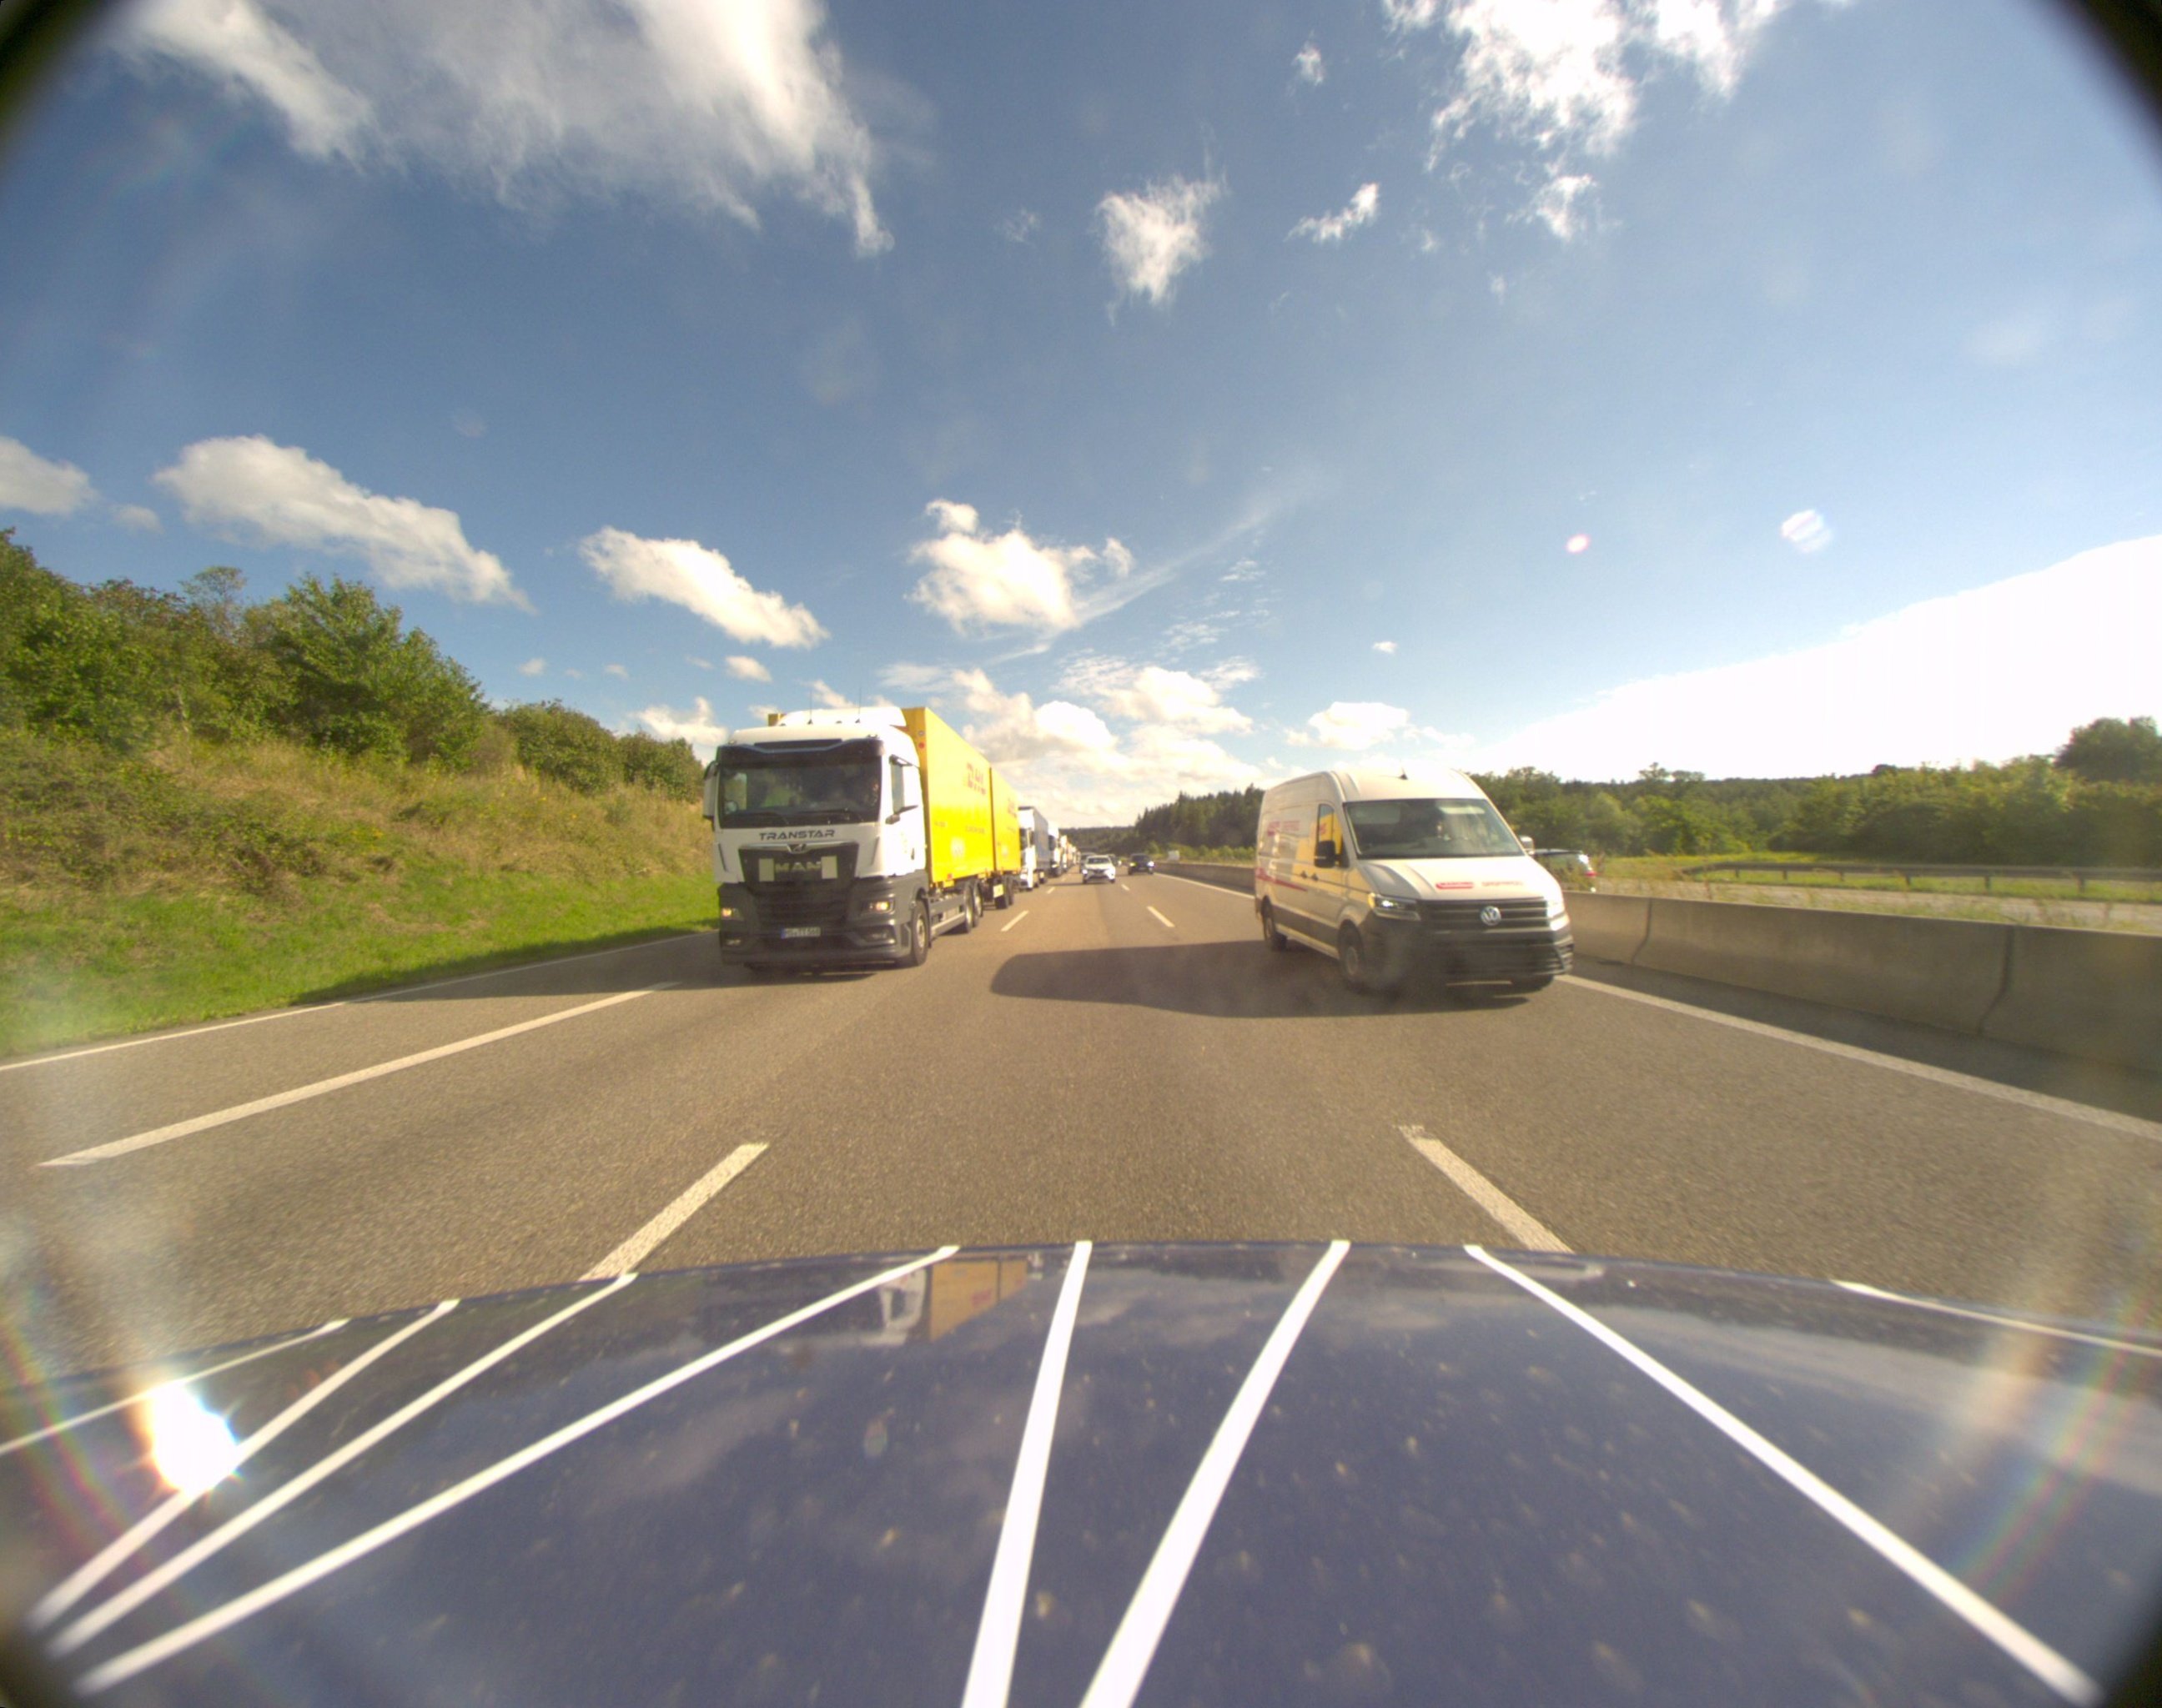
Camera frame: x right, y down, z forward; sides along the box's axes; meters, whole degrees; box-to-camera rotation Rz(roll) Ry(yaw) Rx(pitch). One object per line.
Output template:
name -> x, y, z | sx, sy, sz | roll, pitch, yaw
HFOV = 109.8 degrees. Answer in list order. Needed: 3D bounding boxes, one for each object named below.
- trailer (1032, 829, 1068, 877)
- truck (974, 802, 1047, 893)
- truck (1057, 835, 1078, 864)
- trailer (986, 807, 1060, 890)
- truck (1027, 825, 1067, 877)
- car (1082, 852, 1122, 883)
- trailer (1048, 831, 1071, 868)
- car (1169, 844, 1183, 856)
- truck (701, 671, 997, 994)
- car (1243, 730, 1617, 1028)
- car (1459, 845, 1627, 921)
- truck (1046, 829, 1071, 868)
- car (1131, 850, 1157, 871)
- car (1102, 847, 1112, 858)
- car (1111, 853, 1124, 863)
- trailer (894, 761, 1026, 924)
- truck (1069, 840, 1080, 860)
trailer -> -2.693, -0.013, 69.798 | 2.652, 3.910, 11.176 | -3, -1, 0
truck -> -3.405, -0.330, 38.282 | 2.654, 4.066, 6.491 | -3, 1, 2
truck -> -1.878, -0.621, 107.947 | 2.634, 3.959, 5.956 | -3, 0, 1
trailer -> -3.146, -0.367, 45.596 | 2.648, 4.074, 13.980 | -3, 1, 2
truck -> -2.701, -0.157, 62.343 | 2.656, 3.901, 6.943 | -3, -1, 0
car -> 1.227, 0.725, 42.716 | 2.026, 1.511, 5.299 | -3, 0, 2
trailer -> -2.461, -0.421, 90.851 | 2.334, 3.973, 14.300 | -2, -1, 0
car -> 21.149, -0.888, 168.879 | 2.038, 2.563, 7.321 | -3, 1, 0
truck -> -3.524, -0.292, 14.657 | 2.418, 4.045, 9.664 | -3, 0, 1
car -> 3.781, 0.240, 9.887 | 2.020, 2.583, 6.182 | -2, 0, 1
car -> 11.984, 0.669, 20.106 | 1.820, 1.684, 4.251 | -3, 1, 0
truck -> -2.464, -0.508, 83.341 | 2.371, 3.996, 6.106 | -2, -1, 0
car -> 4.895, 0.487, 59.446 | 1.778, 1.533, 4.158 | 0, 1, 1
car -> 4.622, -0.222, 138.110 | 1.778, 1.923, 4.214 | 0, 0, 1
car -> 5.404, 0.556, 112.365 | 1.778, 1.451, 4.158 | 0, 1, 1
trailer -> -3.429, -0.309, 23.951 | 2.418, 4.045, 8.926 | -3, 0, 1
truck -> -1.356, -0.897, 166.527 | 1.998, 3.999, 7.344 | -3, 1, 0
